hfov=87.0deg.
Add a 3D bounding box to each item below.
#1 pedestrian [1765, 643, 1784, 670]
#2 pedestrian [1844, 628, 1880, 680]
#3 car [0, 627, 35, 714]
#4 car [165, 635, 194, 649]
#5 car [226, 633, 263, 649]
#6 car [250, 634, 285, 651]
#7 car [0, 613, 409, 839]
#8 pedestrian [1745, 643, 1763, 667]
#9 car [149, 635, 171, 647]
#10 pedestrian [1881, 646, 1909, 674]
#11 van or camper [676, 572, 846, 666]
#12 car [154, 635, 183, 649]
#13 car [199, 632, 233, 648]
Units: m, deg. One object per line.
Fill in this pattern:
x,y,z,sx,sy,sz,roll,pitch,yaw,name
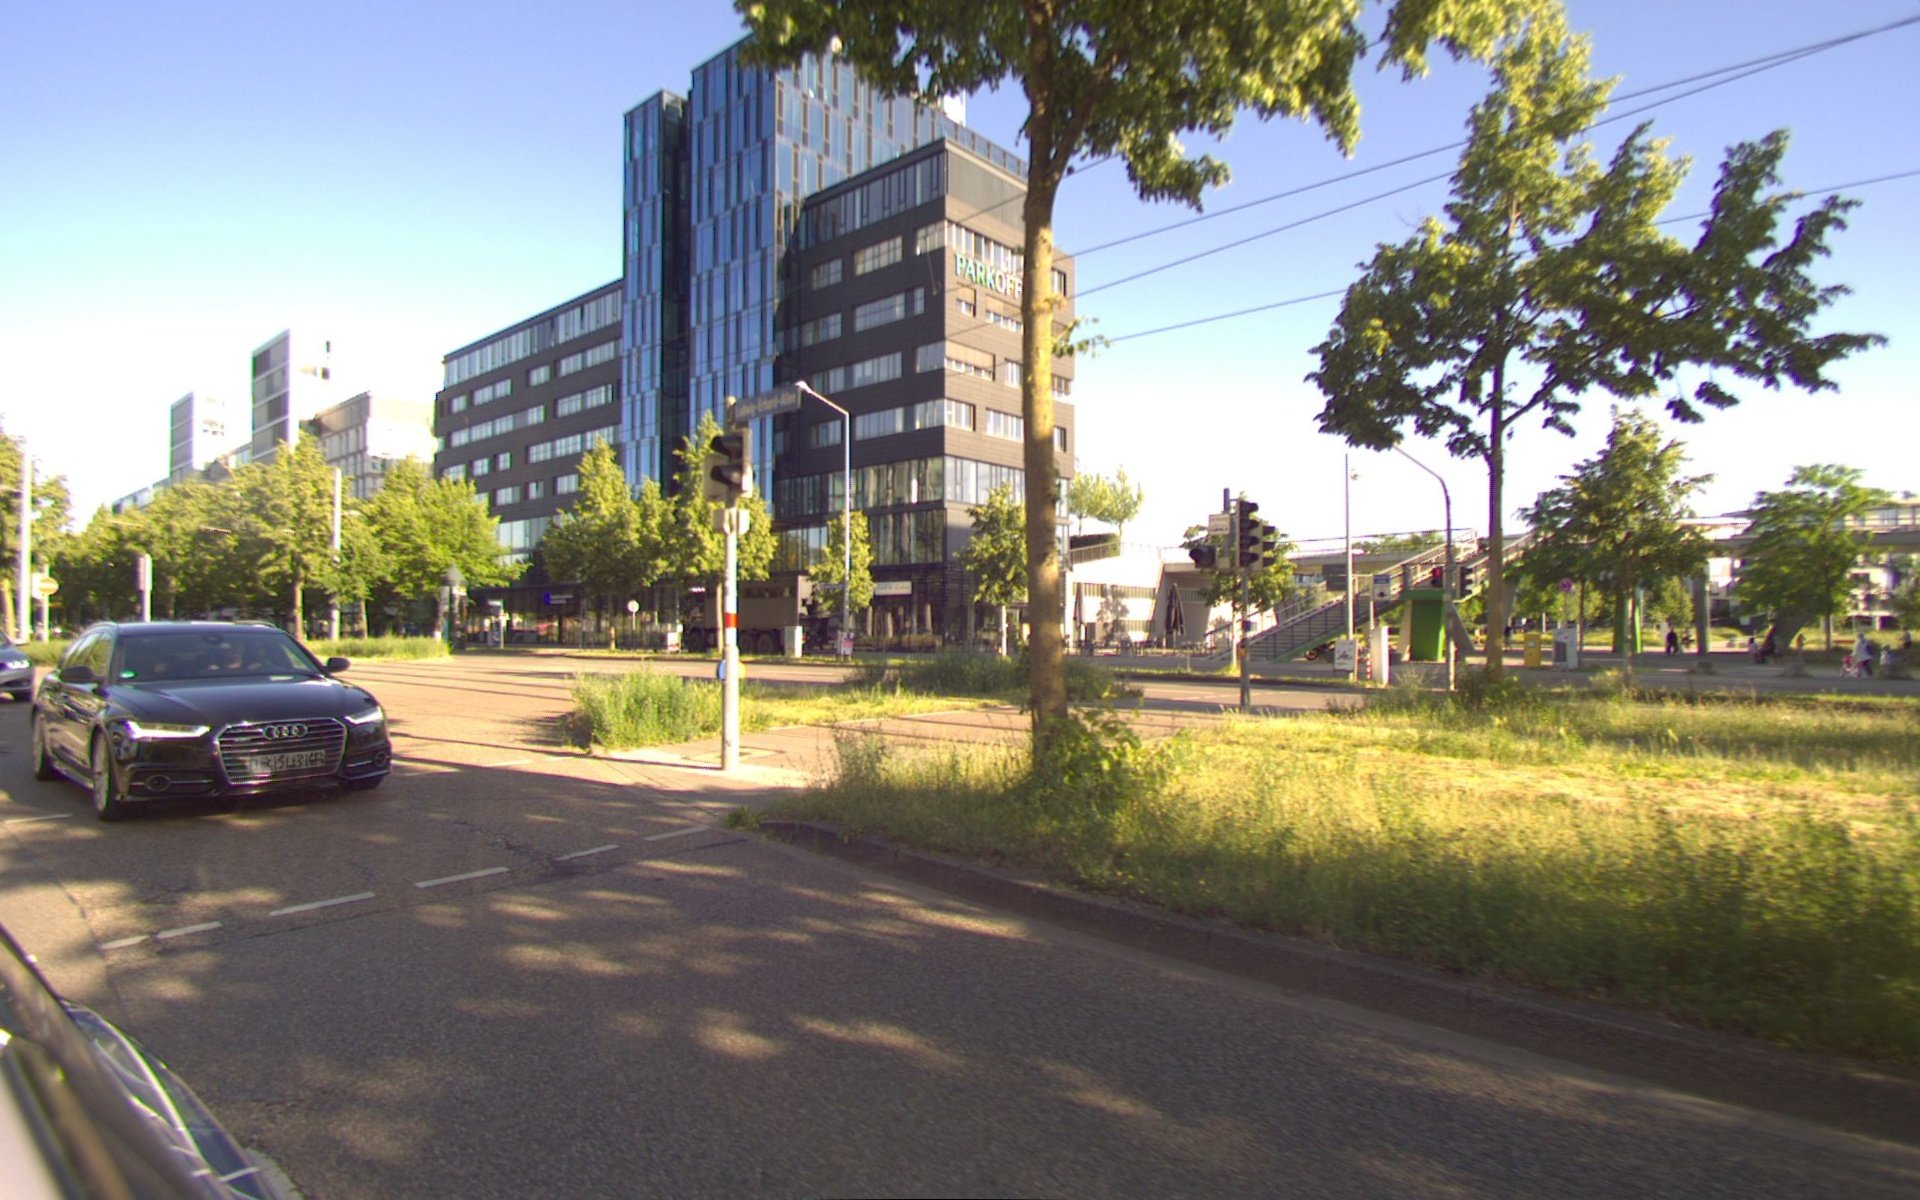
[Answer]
35.751,2.468,44.440,0.600,1.134,0.434,-1,-1,44,pedestrian
31.529,1.891,35.374,0.664,1.785,0.599,-1,-1,5,pedestrian
-18.729,1.265,18.741,4.739,1.500,1.789,-2,-2,41,car
-98.986,5.352,128.282,4.789,1.712,1.986,-2,-2,40,car
-77.922,4.439,110.129,4.785,1.712,1.987,-2,-2,38,car
-70.566,4.283,103.161,4.790,1.697,1.834,-2,-2,42,car
-6.664,0.880,8.702,4.502,1.468,1.790,-2,-2,39,car
37.978,2.614,48.405,0.600,1.134,0.434,-1,-1,44,pedestrian
-106.966,5.476,135.309,3.742,1.682,1.580,-2,-2,42,car
32.716,2.096,35.420,0.428,0.927,0.599,-1,-1,5,pedestrian
-10.049,0.994,50.083,10.226,4.224,2.724,-2,-2,42,van or camper
-103.337,5.458,132.123,4.789,1.712,1.986,-2,-2,40,car
-85.835,4.606,116.775,4.785,1.712,1.987,-2,-2,38,car
